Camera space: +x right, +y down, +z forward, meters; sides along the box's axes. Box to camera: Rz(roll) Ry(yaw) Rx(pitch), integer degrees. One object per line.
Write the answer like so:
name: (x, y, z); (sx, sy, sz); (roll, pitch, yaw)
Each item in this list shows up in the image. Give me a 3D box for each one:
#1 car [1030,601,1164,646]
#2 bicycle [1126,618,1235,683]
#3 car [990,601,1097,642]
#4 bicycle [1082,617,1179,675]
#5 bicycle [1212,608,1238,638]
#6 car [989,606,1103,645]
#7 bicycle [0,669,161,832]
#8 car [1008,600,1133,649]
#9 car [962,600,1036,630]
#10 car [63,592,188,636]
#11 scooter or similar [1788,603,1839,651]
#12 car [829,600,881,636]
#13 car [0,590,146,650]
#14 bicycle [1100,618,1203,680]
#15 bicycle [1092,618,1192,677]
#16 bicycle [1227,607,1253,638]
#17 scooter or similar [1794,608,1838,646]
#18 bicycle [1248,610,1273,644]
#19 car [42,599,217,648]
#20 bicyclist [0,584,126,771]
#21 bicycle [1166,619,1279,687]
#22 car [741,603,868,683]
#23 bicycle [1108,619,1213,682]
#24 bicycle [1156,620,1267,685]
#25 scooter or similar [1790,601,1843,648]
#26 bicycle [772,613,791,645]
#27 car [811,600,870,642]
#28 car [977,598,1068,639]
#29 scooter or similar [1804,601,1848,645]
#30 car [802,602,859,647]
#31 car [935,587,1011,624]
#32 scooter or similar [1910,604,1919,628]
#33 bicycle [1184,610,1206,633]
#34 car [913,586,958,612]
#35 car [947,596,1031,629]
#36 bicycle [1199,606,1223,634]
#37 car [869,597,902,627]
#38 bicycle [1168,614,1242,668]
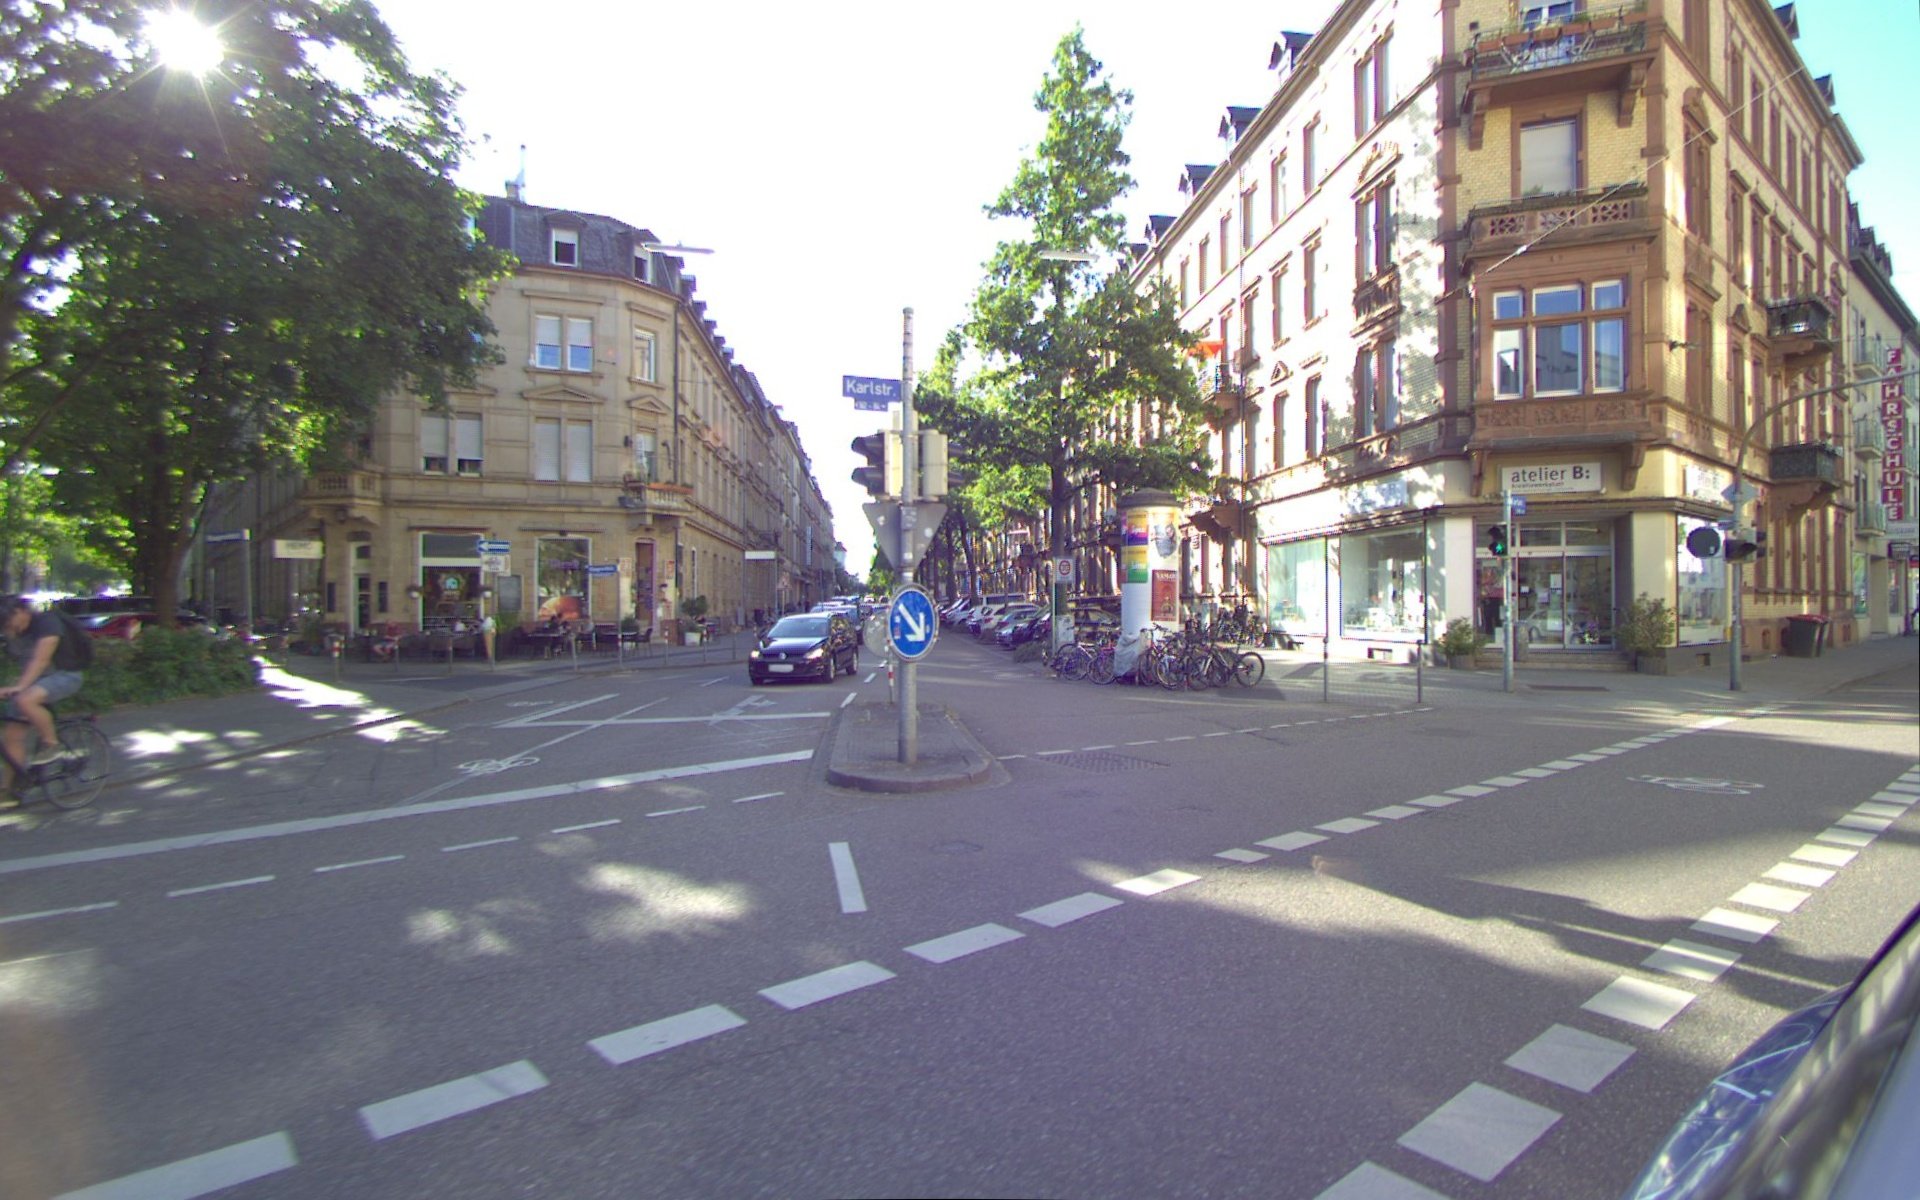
car: (4.401, 0.728, 32.765); (3.917, 1.389, 1.828); (0, 0, -10)
bicycle: (4.437, 1.004, 20.350); (2.076, 1.157, 0.619); (-3, 0, -18)
car: (3.256, 0.832, 39.777); (3.917, 1.544, 1.554); (0, 0, -10)
bicycle: (3.839, 1.020, 22.808); (2.076, 1.157, 0.619); (-3, 0, -18)
bicycle: (8.978, 0.760, 34.306); (0.389, 0.969, 1.288); (2, 0, -5)
car: (3.155, 0.933, 37.434); (3.917, 1.374, 1.554); (0, 0, -10)
bicycle: (-7.354, 1.139, 7.847); (0.830, 1.058, 2.099); (-1, 0, -6)
car: (3.802, 0.817, 35.068); (3.917, 1.622, 1.828); (0, 0, -10)
car: (2.001, 0.771, 52.837); (3.608, 1.545, 1.553); (0, 0, -9)
car: (-37.768, 0.591, 45.920); (1.978, 1.886, 3.973); (-1, 0, 20)
scooter or similar: (22.299, 0.705, 26.446); (0.538, 1.162, 0.899); (0, 4, -42)
car: (-4.923, 0.801, 47.898); (1.812, 1.625, 4.246); (0, 0, 3)
car: (-31.210, 0.638, 35.432); (1.619, 1.885, 3.971); (1, 2, 22)
bicycle: (4.083, 1.030, 21.601); (2.076, 1.157, 0.619); (-3, 0, -18)
bicycle: (4.008, 1.025, 22.233); (2.076, 1.157, 0.619); (-3, 0, -18)
bicycle: (9.117, 0.731, 32.954); (0.389, 0.969, 1.288); (0, 0, -5)
scooter or similar: (23.461, 0.725, 27.747); (0.669, 0.969, 0.792); (0, 3, -42)
bicycle: (9.294, 0.819, 31.303); (0.389, 1.017, 1.000); (0, 0, -5)
car: (-26.668, 0.707, 32.669); (1.619, 1.450, 4.147); (0, 0, 22)
bicyclist: (-7.360, 0.565, 7.894); (0.821, 1.360, 1.136); (0, 0, -6)
bicycle: (5.035, 0.998, 19.405); (2.076, 1.157, 0.619); (-2, 0, -18)
car: (-3.316, 0.874, 22.378); (1.813, 1.517, 4.244); (-1, 0, 5)
bicycle: (4.170, 1.032, 21.055); (2.076, 1.157, 0.619); (-3, 0, -18)
bicycle: (4.933, 1.017, 19.864); (2.076, 1.157, 0.619); (-1, 0, -18)
scooter or similar: (22.974, 0.650, 27.149); (0.639, 1.162, 0.935); (0, 3, -42)
bicycle: (-6.237, 0.998, 35.415); (0.390, 1.056, 1.879); (0, 0, -1)
car: (-5.031, 0.852, 43.141); (1.812, 1.625, 4.247); (-1, 0, 3)
car: (2.778, 0.810, 45.191); (3.784, 1.780, 1.523); (0, 0, -10)
scooter or similar: (24.559, 0.632, 28.708); (0.776, 1.162, 0.792); (0, 3, -42)
car: (-4.785, 0.865, 37.839); (1.809, 1.517, 4.253); (-1, 0, -4)
car: (0.782, 0.333, 62.611); (4.381, 2.230, 1.850); (0, 0, -9)
scooter or similar: (40.111, 0.571, 41.832); (1.257, 1.291, 0.414); (7, 16, -25)
bicycle: (8.748, 0.790, 37.656); (0.389, 0.808, 1.347); (0, 0, -5)
car: (-2.276, -0.098, 93.380); (3.918, 2.351, 1.553); (0, 0, -9)
car: (1.625, 0.692, 57.426); (4.577, 1.856, 1.552); (0, 0, -5)
bicycle: (8.936, 0.713, 36.064); (0.389, 0.969, 1.347); (0, 0, -5)
car: (-4.274, 0.660, 58.009); (1.809, 1.625, 4.253); (-1, 0, -4)
bicycle: (5.734, 0.937, 23.675); (1.583, 1.157, 0.545); (-3, 0, -18)
